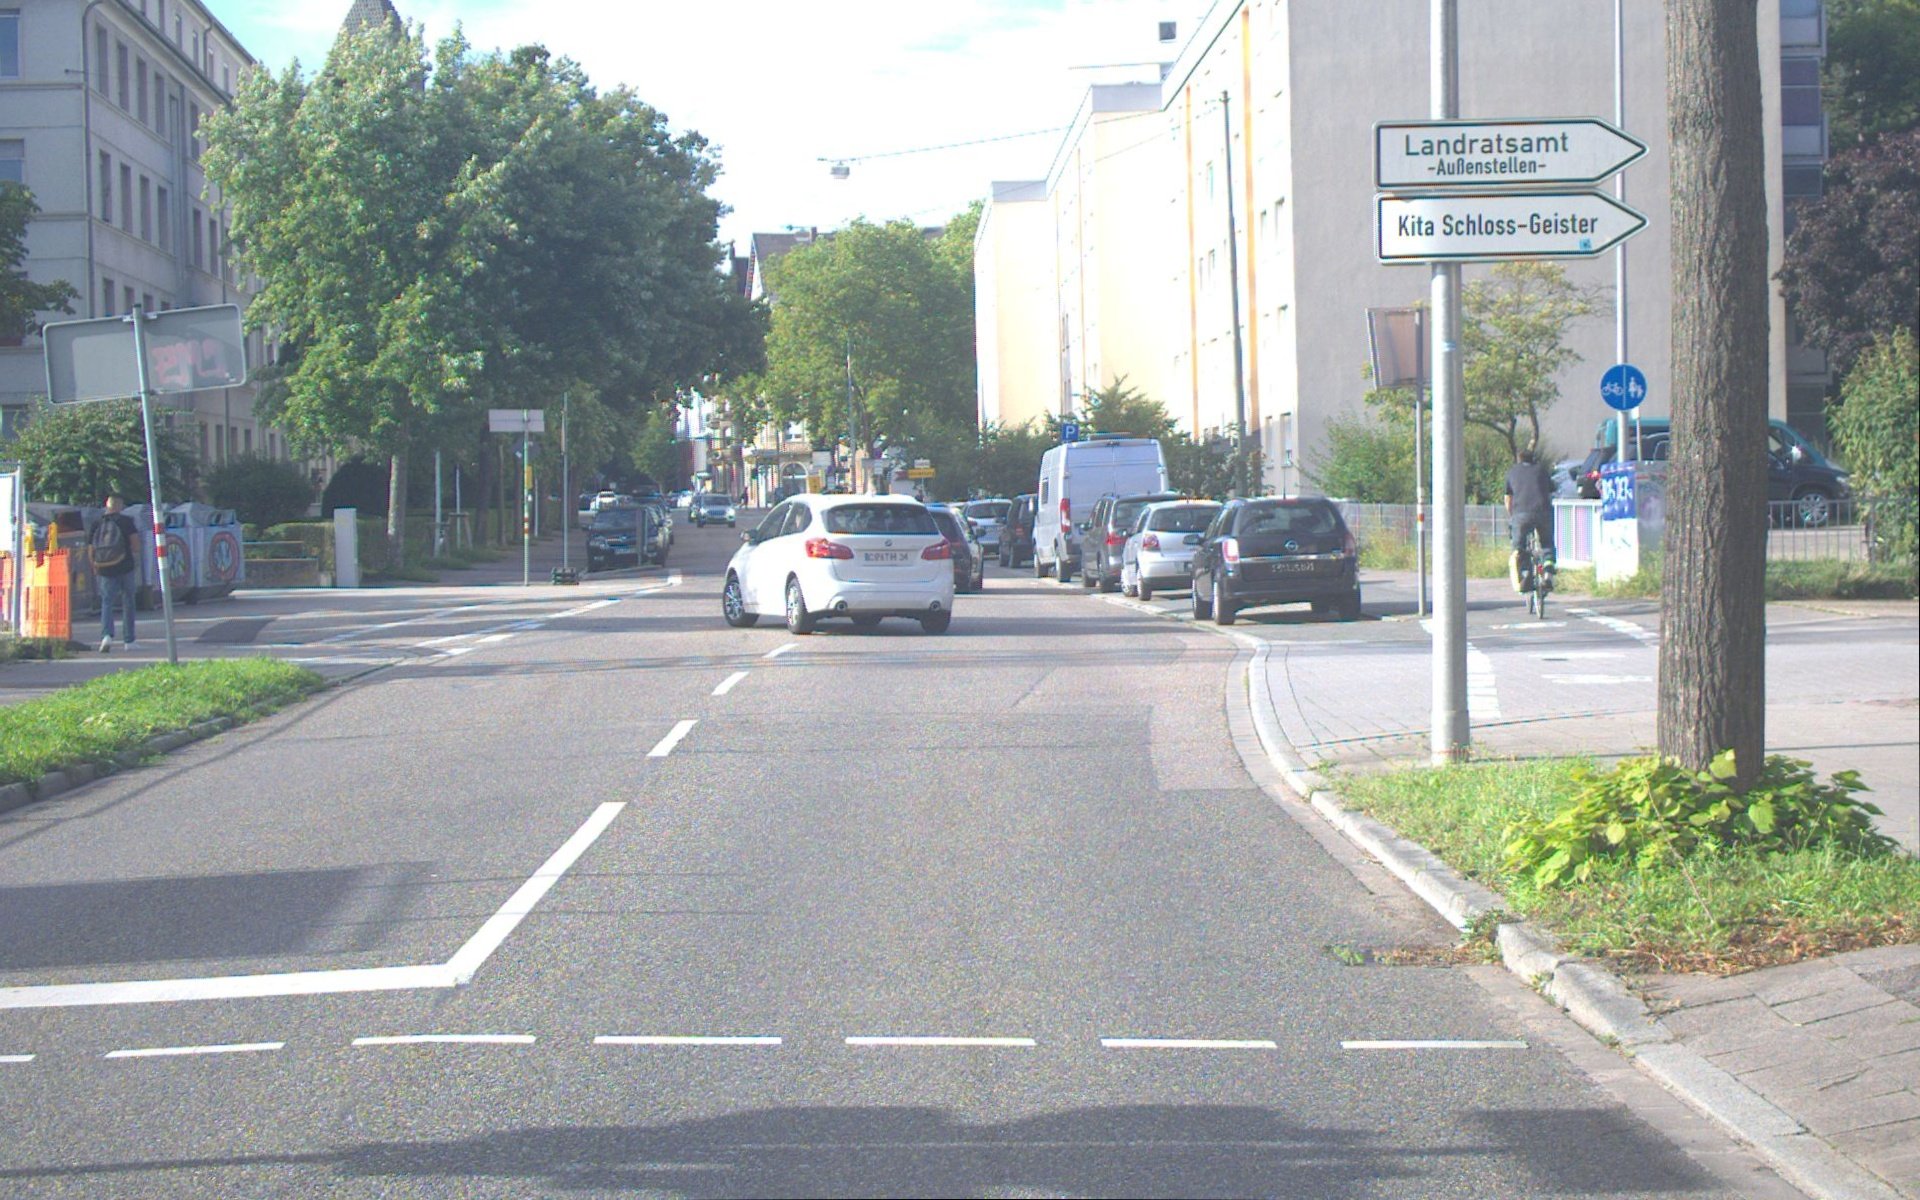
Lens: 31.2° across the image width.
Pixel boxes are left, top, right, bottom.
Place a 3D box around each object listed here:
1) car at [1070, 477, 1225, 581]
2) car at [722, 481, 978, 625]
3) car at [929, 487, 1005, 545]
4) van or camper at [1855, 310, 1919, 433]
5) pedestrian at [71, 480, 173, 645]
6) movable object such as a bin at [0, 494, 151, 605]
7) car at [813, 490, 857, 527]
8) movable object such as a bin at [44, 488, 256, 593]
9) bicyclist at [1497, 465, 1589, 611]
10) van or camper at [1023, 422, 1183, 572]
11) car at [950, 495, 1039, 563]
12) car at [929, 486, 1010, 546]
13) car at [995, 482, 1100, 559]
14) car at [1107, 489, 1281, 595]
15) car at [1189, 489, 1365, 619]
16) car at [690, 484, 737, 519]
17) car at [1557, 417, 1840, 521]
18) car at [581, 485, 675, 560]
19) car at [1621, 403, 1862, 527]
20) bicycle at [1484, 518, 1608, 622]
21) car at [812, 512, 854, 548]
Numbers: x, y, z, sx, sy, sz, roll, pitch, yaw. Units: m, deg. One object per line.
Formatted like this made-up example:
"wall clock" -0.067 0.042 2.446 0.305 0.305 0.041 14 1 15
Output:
"car" 3.118 -1.225 58.035 1.993 1.610 4.409 -2 2 -4
"car" -1.333 -0.564 39.491 1.993 1.549 4.275 -1 1 -15
"car" 0.176 -2.426 98.353 1.993 1.568 4.001 -2 2 -2
"van or camper" 24.238 -5.742 85.880 2.329 2.864 5.121 -5 2 1
"pedestrian" -8.979 -0.400 36.862 1.006 1.722 1.178 -1 1 -13
"movable object such as a bin" -14.475 -0.802 53.944 3.105 1.702 1.547 0 1 14
"car" -5.969 -4.378 164.456 1.993 1.749 4.000 0 1 -1
"movable object such as a bin" -13.395 -0.980 56.894 3.105 1.702 1.410 0 1 13
"bicyclist" 6.292 -0.674 37.114 0.737 1.508 0.875 -4 1 -1
"van or camper" 2.601 -1.918 64.047 2.209 2.598 5.373 -2 2 -5
"car" 0.830 -1.789 85.526 1.993 1.568 4.001 -2 2 -2
"car" 0.234 -2.294 93.574 1.993 1.524 4.001 -2 2 -2
"car" 1.882 -1.754 74.979 1.993 1.568 4.001 -2 2 -2
"car" 3.525 -0.902 52.668 2.015 1.470 4.803 -3 1 -3
"car" 3.775 -0.577 41.514 1.717 1.491 4.268 0 1 0
"car" -12.307 -4.904 171.438 2.055 1.658 3.927 -2 2 -7
"car" 12.694 -2.256 59.305 4.448 1.616 2.000 -2 2 3
"car" -7.771 -1.834 80.275 1.993 1.634 4.001 -2 2 -7
"car" 14.836 -2.569 65.454 4.119 2.178 2.000 -2 2 3
"bicycle" 6.320 -0.346 37.217 0.740 1.031 2.762 -4 2 -2
"car" -6.339 -3.512 172.251 1.993 1.749 4.000 0 1 -1
